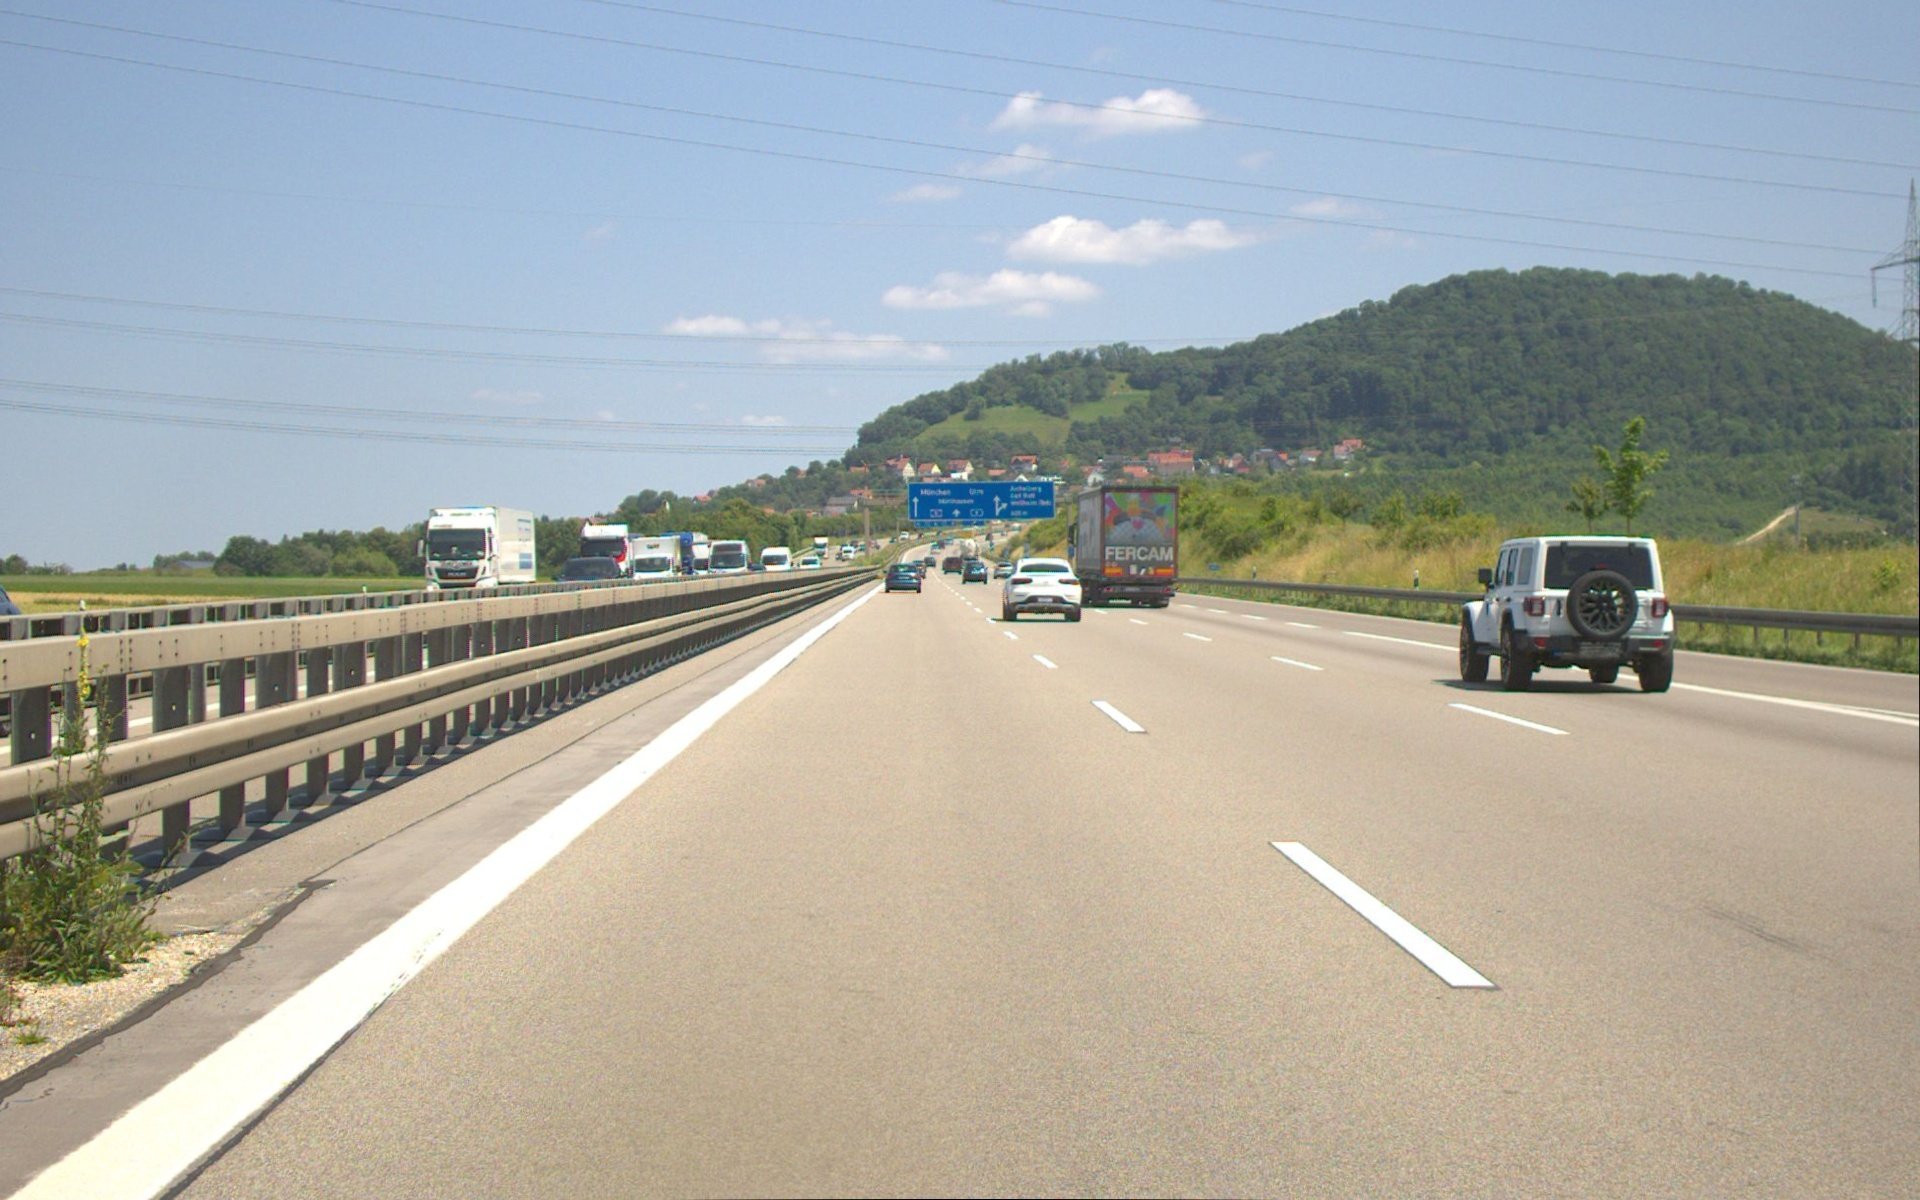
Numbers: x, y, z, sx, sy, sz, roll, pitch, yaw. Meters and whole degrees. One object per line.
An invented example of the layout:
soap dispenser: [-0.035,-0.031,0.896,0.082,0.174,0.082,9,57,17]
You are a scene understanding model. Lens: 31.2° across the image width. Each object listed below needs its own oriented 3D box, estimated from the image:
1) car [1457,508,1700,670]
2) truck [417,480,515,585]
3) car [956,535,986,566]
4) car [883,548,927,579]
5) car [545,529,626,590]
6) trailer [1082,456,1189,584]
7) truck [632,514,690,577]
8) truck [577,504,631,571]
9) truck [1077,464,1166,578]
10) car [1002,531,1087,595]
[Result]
car: [7.463,-0.171,41.891,2.034,1.798,4.251,-2,1,-1]
truck: [-18.920,-2.570,132.096,2.939,3.917,6.477,1,1,-1]
car: [0.723,-3.340,231.834,1.993,2.007,4.000,1,1,0]
car: [-2.556,-1.720,161.806,1.993,1.384,4.000,1,1,0]
car: [-10.623,-1.159,97.830,1.810,1.635,4.428,-2,1,-1]
trailer: [5.957,-2.700,118.640,2.725,4.140,11.809,1,1,-2]
truck: [-15.014,-2.744,172.980,2.249,2.999,7.428,-2,1,-1]
truck: [-19.861,-3.474,191.804,2.717,3.678,6.057,1,1,-4]
truck: [5.824,-2.832,125.064,2.752,4.007,6.789,1,1,-1]
car: [2.135,-0.952,87.971,1.914,1.575,5.231,1,1,-1]
